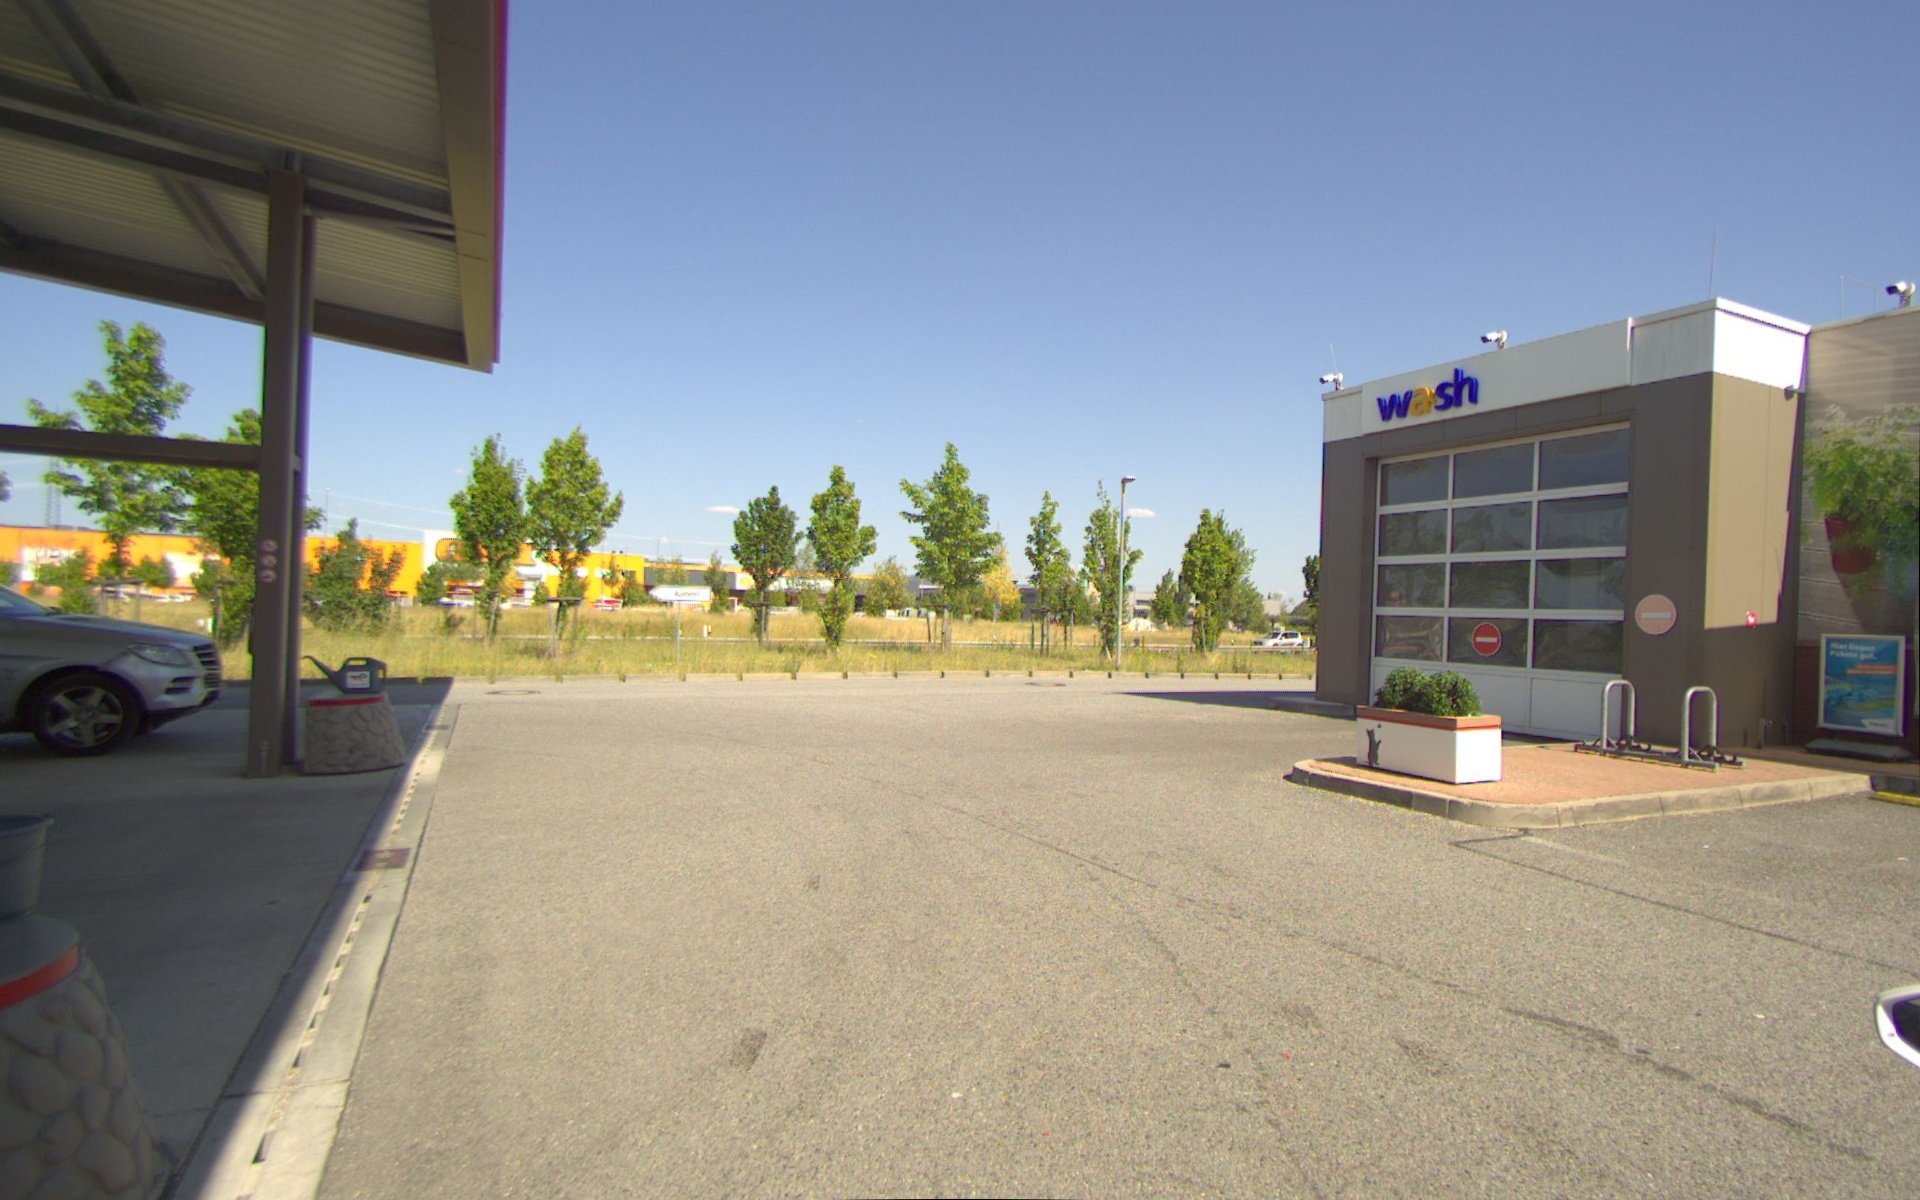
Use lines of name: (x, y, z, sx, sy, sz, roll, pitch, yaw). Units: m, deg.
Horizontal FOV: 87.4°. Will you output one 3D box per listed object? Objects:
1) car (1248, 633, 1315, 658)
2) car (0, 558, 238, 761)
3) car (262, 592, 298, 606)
car: (22.880, 3.261, 71.476, 4.366, 1.625, 1.936, 2, -1, -24)
car: (-9.261, 0.480, 8.847, 4.482, 1.710, 1.851, 1, -1, -30)
car: (-72.020, -0.094, 106.463, 2.904, 1.316, 1.478, 2, -1, -24)
